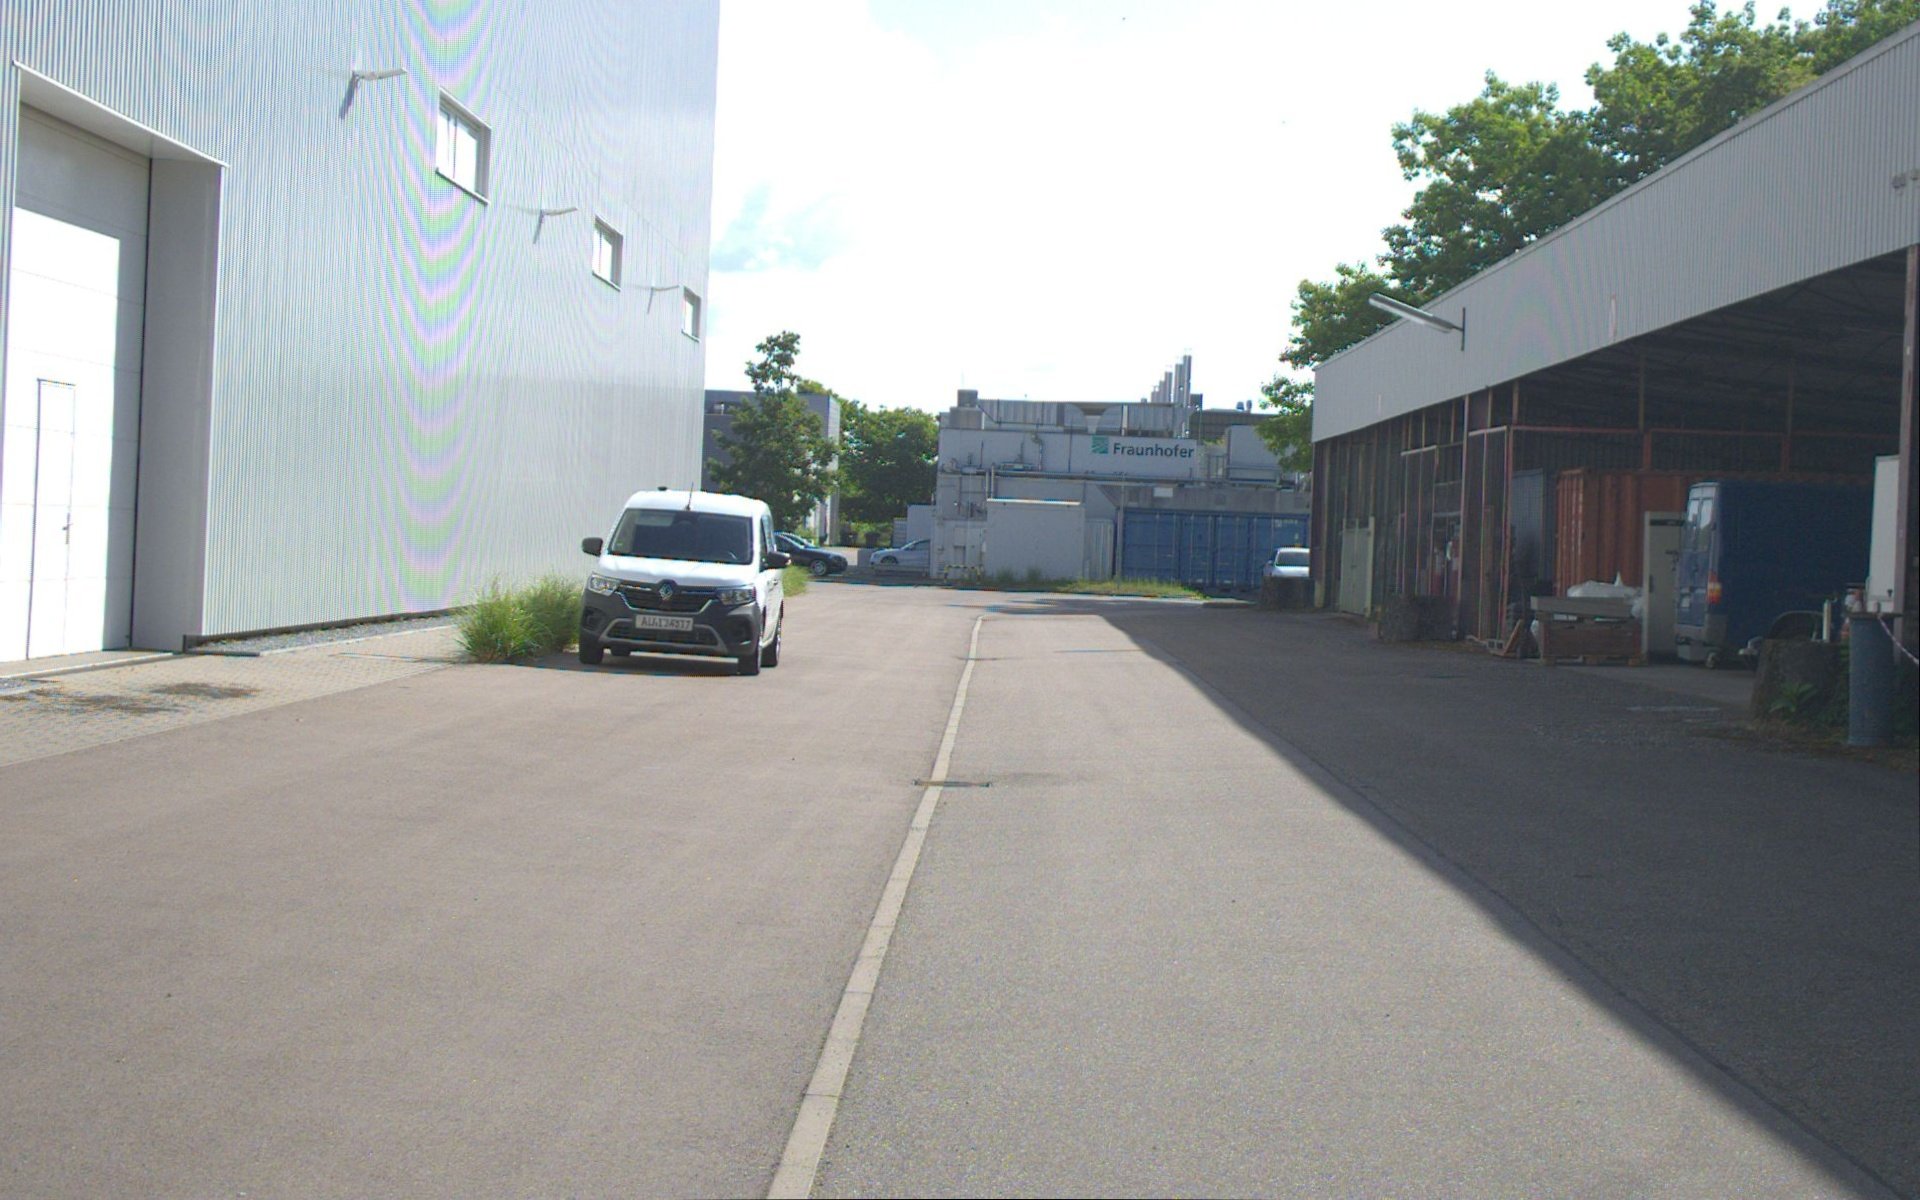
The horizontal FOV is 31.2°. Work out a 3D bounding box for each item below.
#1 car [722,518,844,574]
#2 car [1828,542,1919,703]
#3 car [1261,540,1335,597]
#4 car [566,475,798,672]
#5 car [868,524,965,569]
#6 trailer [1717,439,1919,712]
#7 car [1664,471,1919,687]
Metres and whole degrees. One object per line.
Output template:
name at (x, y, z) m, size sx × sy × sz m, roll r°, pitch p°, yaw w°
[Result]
car at (-6.034, -1.837, 117.661) m, size 3.987 × 1.592 × 1.741 m, roll 4°, pitch -1°, yaw 0°
car at (10.824, 0.345, 33.888) m, size 4.038 × 1.519 × 1.684 m, roll 4°, pitch -1°, yaw 2°
car at (10.294, -0.977, 104.900) m, size 1.962 × 1.559 × 4.059 m, roll 4°, pitch 2°, yaw 3°
car at (-2.786, -0.307, 35.365) m, size 1.819 × 1.781 × 4.405 m, roll 4°, pitch 1°, yaw 1°
car at (-1.847, -2.273, 145.455) m, size 3.987 × 1.592 × 1.848 m, roll 4°, pitch -1°, yaw 0°
trailer at (8.456, -0.199, 31.663) m, size 2.523 × 2.390 × 1.727 m, roll 2°, pitch 0°, yaw 2°
car at (10.740, -0.171, 40.404) m, size 4.433 × 2.302 × 1.915 m, roll 4°, pitch -1°, yaw 2°
